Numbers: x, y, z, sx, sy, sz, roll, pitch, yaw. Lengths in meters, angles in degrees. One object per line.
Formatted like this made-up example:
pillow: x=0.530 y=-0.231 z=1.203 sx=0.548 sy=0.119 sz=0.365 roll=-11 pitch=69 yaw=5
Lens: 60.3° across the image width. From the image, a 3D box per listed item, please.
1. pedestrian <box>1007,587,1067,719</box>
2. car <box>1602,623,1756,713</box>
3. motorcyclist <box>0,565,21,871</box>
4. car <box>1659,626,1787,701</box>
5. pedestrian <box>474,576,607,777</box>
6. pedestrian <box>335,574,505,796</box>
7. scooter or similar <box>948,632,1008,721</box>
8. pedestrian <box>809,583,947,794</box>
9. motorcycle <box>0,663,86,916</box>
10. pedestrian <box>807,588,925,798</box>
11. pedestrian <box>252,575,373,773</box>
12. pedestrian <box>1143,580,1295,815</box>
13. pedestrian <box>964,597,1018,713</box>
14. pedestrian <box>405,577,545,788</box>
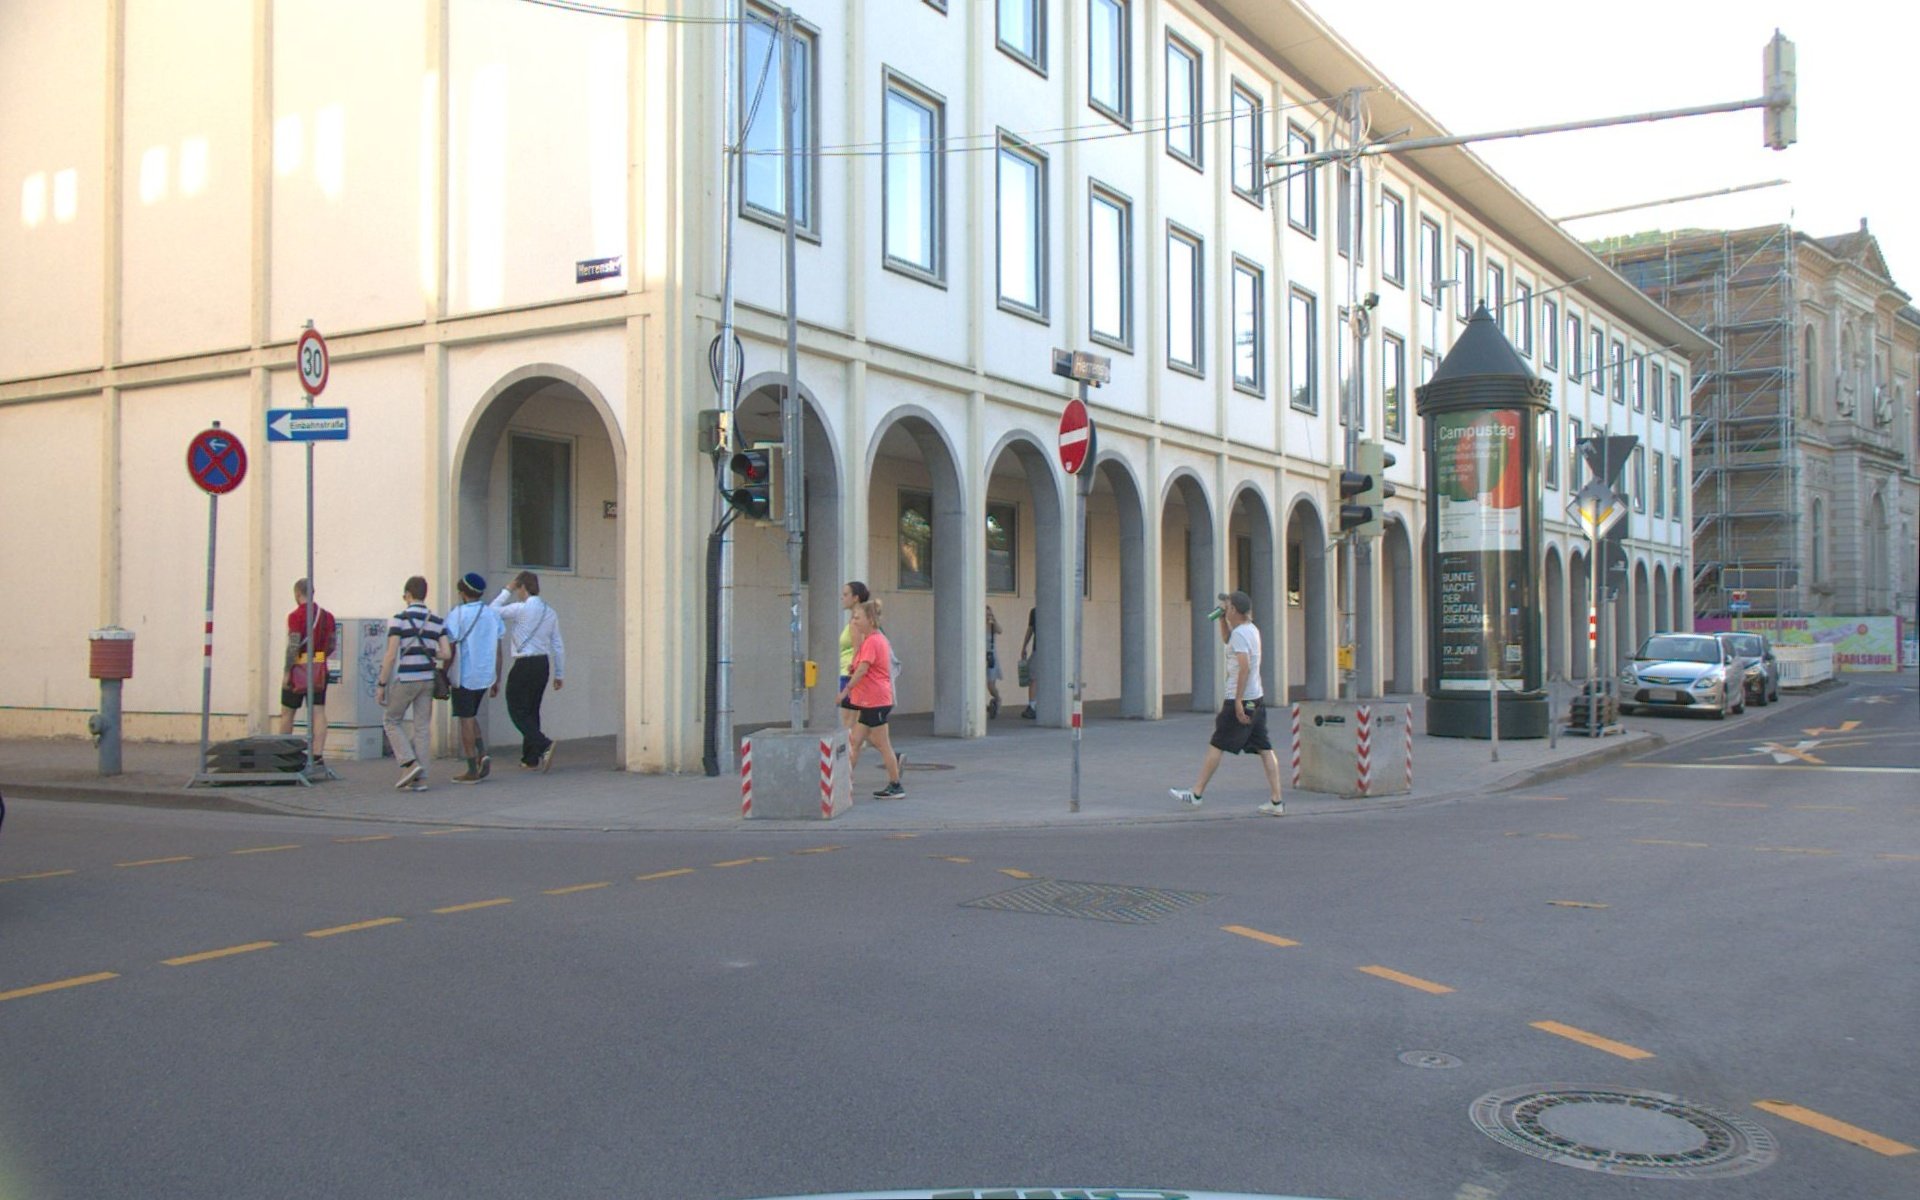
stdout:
pedestrian: x=1.138 y=0.768 z=24.216 sx=0.627 sy=1.872 sz=0.727 roll=-1 pitch=2 yaw=23
car: x=13.217 y=1.233 z=30.265 sx=1.891 sy=1.492 sz=3.987 roll=1 pitch=-2 yaw=34
motorcyclist: x=-5.675 y=0.624 z=8.519 sx=1.211 sy=1.587 sz=0.956 roll=-2 pitch=-1 yaw=28
car: x=16.551 y=1.363 z=35.788 sx=1.891 sy=1.492 sz=3.987 roll=1 pitch=-2 yaw=34
pedestrian: x=-3.948 y=0.704 z=15.565 sx=0.921 sy=1.808 sz=0.710 roll=-1 pitch=1 yaw=30
pedestrian: x=-4.714 y=0.718 z=14.439 sx=1.220 sy=1.833 sz=0.715 roll=-1 pitch=1 yaw=30
scooter or similar: x=0.266 y=1.074 z=23.513 sx=0.605 sy=1.178 sz=0.959 roll=-1 pitch=2 yaw=16
pedestrian: x=-0.704 y=0.740 z=14.295 sx=0.947 sy=1.739 sz=0.674 roll=0 pitch=2 yaw=30
motorcycle: x=-5.747 y=0.949 z=8.555 sx=2.521 sy=1.204 sz=0.907 roll=-2 pitch=-1 yaw=28
pedestrian: x=-0.769 y=0.743 z=13.621 sx=0.711 sy=1.652 sz=0.619 roll=-1 pitch=2 yaw=30
pedestrian: x=-6.237 y=0.691 z=15.947 sx=0.758 sy=1.833 sz=0.710 roll=-1 pitch=1 yaw=30
pedestrian: x=2.040 y=0.735 z=12.982 sx=0.956 sy=1.759 sz=0.797 roll=0 pitch=-1 yaw=30
pedestrian: x=0.463 y=0.802 z=24.327 sx=0.605 sy=1.652 sz=0.728 roll=-1 pitch=2 yaw=15
pedestrian: x=-4.359 y=0.718 z=14.871 sx=0.921 sy=1.808 sz=0.710 roll=-1 pitch=1 yaw=30
